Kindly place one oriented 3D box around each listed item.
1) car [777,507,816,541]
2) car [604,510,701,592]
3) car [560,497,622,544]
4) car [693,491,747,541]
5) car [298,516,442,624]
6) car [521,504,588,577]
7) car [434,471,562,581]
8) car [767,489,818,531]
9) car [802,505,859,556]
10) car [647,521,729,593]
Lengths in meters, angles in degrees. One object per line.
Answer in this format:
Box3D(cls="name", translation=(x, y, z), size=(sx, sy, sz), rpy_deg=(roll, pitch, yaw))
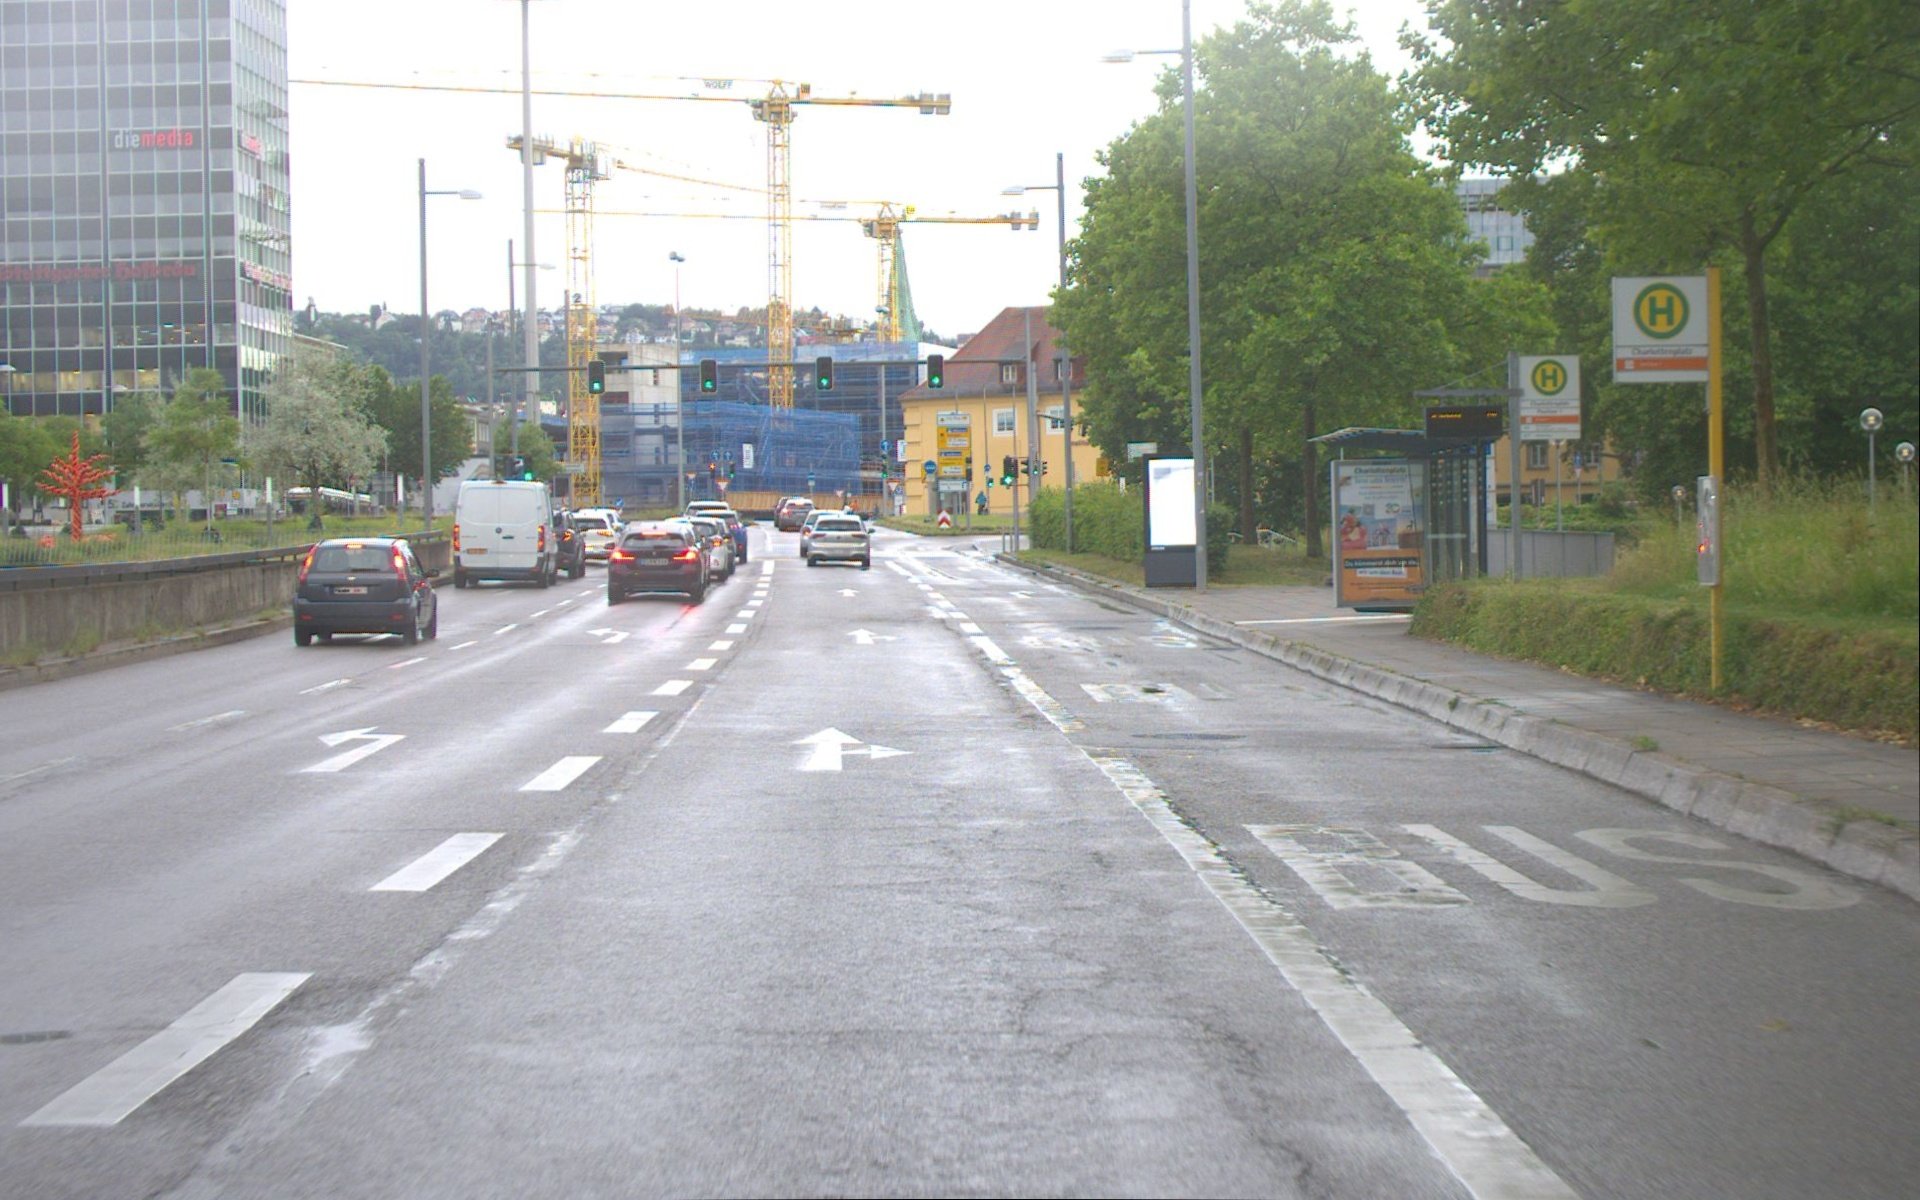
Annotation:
Box3D(cls="car", translation=(-5.073, -2.356, 106.915), size=(1.076, 0.987, 1.971), rpy_deg=(1, 0, 1))
Box3D(cls="car", translation=(-5.942, -0.970, 66.735), size=(1.753, 1.466, 4.223), rpy_deg=(0, 2, -4))
Box3D(cls="car", translation=(-10.269, -2.197, 95.781), size=(1.551, 1.256, 2.581), rpy_deg=(0, 0, -3))
Box3D(cls="car", translation=(-6.913, -2.422, 99.306), size=(1.493, 1.365, 3.034), rpy_deg=(0, 0, -3))
Box3D(cls="car", translation=(-8.093, -0.413, 47.413), size=(1.542, 1.410, 3.902), rpy_deg=(0, 0, -4))
Box3D(cls="car", translation=(-9.657, -1.402, 82.029), size=(1.464, 1.700, 3.142), rpy_deg=(0, 0, -4))
Box3D(cls="car", translation=(-10.098, -1.589, 75.530), size=(2.292, 2.306, 5.006), rpy_deg=(0, 0, -2))
Box3D(cls="car", translation=(-7.796, -4.167, 160.353), size=(2.161, 1.873, 3.770), rpy_deg=(1, 0, 1))
Box3D(cls="car", translation=(-3.578, -1.921, 95.247), size=(1.444, 1.354, 2.412), rpy_deg=(1, 0, 1))
Box3D(cls="car", translation=(-6.425, -1.006, 80.904), size=(1.880, 1.647, 3.458), rpy_deg=(0, 0, -5))
